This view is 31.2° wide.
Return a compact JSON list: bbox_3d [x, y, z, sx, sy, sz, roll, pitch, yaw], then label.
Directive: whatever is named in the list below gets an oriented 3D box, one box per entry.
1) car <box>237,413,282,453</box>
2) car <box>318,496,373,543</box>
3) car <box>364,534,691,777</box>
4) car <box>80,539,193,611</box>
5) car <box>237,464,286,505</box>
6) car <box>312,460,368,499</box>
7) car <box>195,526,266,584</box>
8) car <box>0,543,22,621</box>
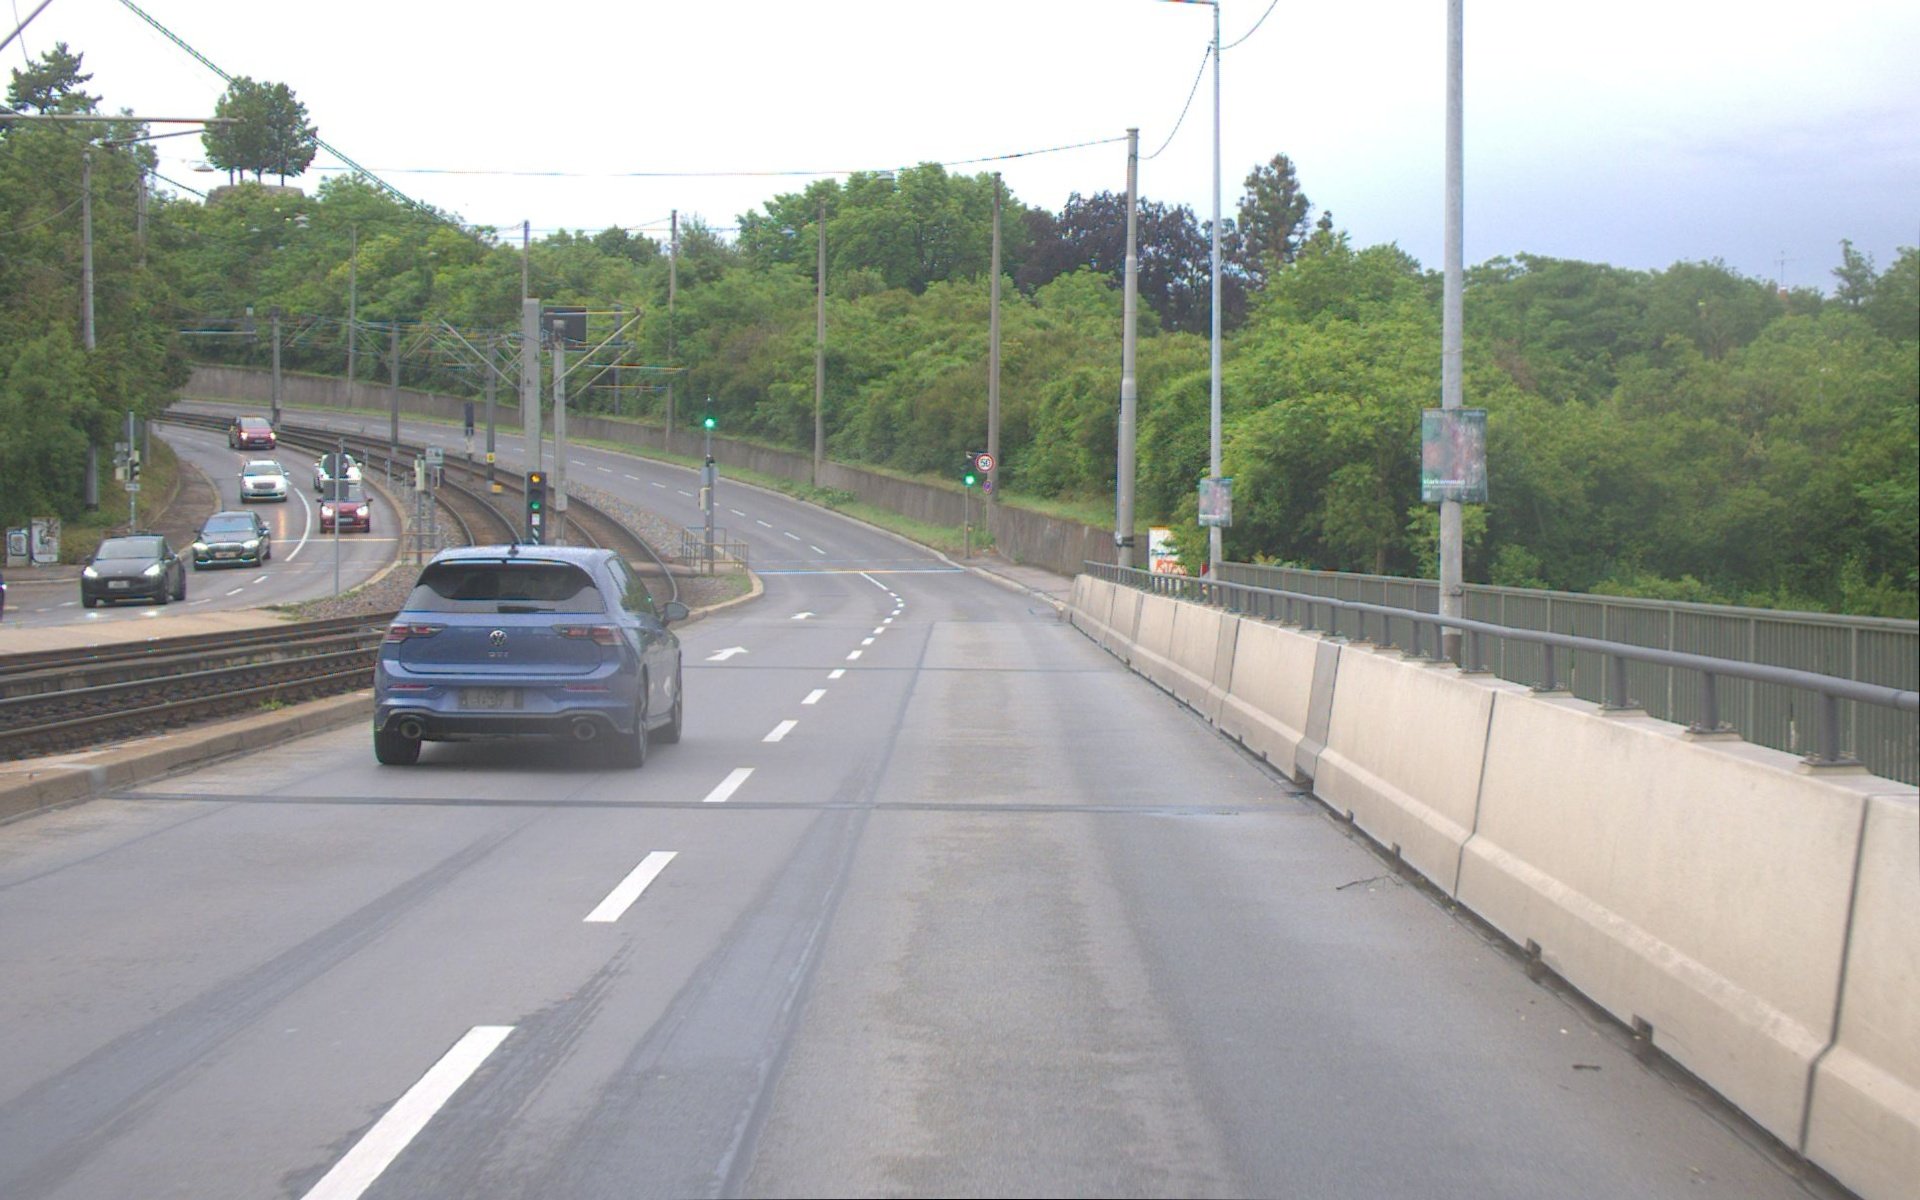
[{"bbox_3d":[-35.572,-8.471,174.504,1.847,1.591,4.736,-2,8,-16],"label":"car"},{"bbox_3d":[-20.720,-2.723,115.839,1.600,1.488,3.019,-1,2,-14],"label":"car"},{"bbox_3d":[-2.892,0.331,23.743,1.763,1.496,4.000,1,1,-1],"label":"car"},{"bbox_3d":[-19.438,-0.611,81.304,1.896,1.592,4.733,-1,2,-5],"label":"car"},{"bbox_3d":[-27.126,-4.468,133.520,1.820,1.510,4.530,0,1,-11],"label":"car"},{"bbox_3d":[-25.205,-4.895,139.711,1.729,1.432,4.493,-1,0,-17],"label":"car"},{"bbox_3d":[-21.422,-1.304,100.945,1.968,1.592,5.186,-1,0,-12],"label":"car"},{"bbox_3d":[-18.629,-0.313,62.471,1.816,1.431,4.741,0,1,1],"label":"car"}]
